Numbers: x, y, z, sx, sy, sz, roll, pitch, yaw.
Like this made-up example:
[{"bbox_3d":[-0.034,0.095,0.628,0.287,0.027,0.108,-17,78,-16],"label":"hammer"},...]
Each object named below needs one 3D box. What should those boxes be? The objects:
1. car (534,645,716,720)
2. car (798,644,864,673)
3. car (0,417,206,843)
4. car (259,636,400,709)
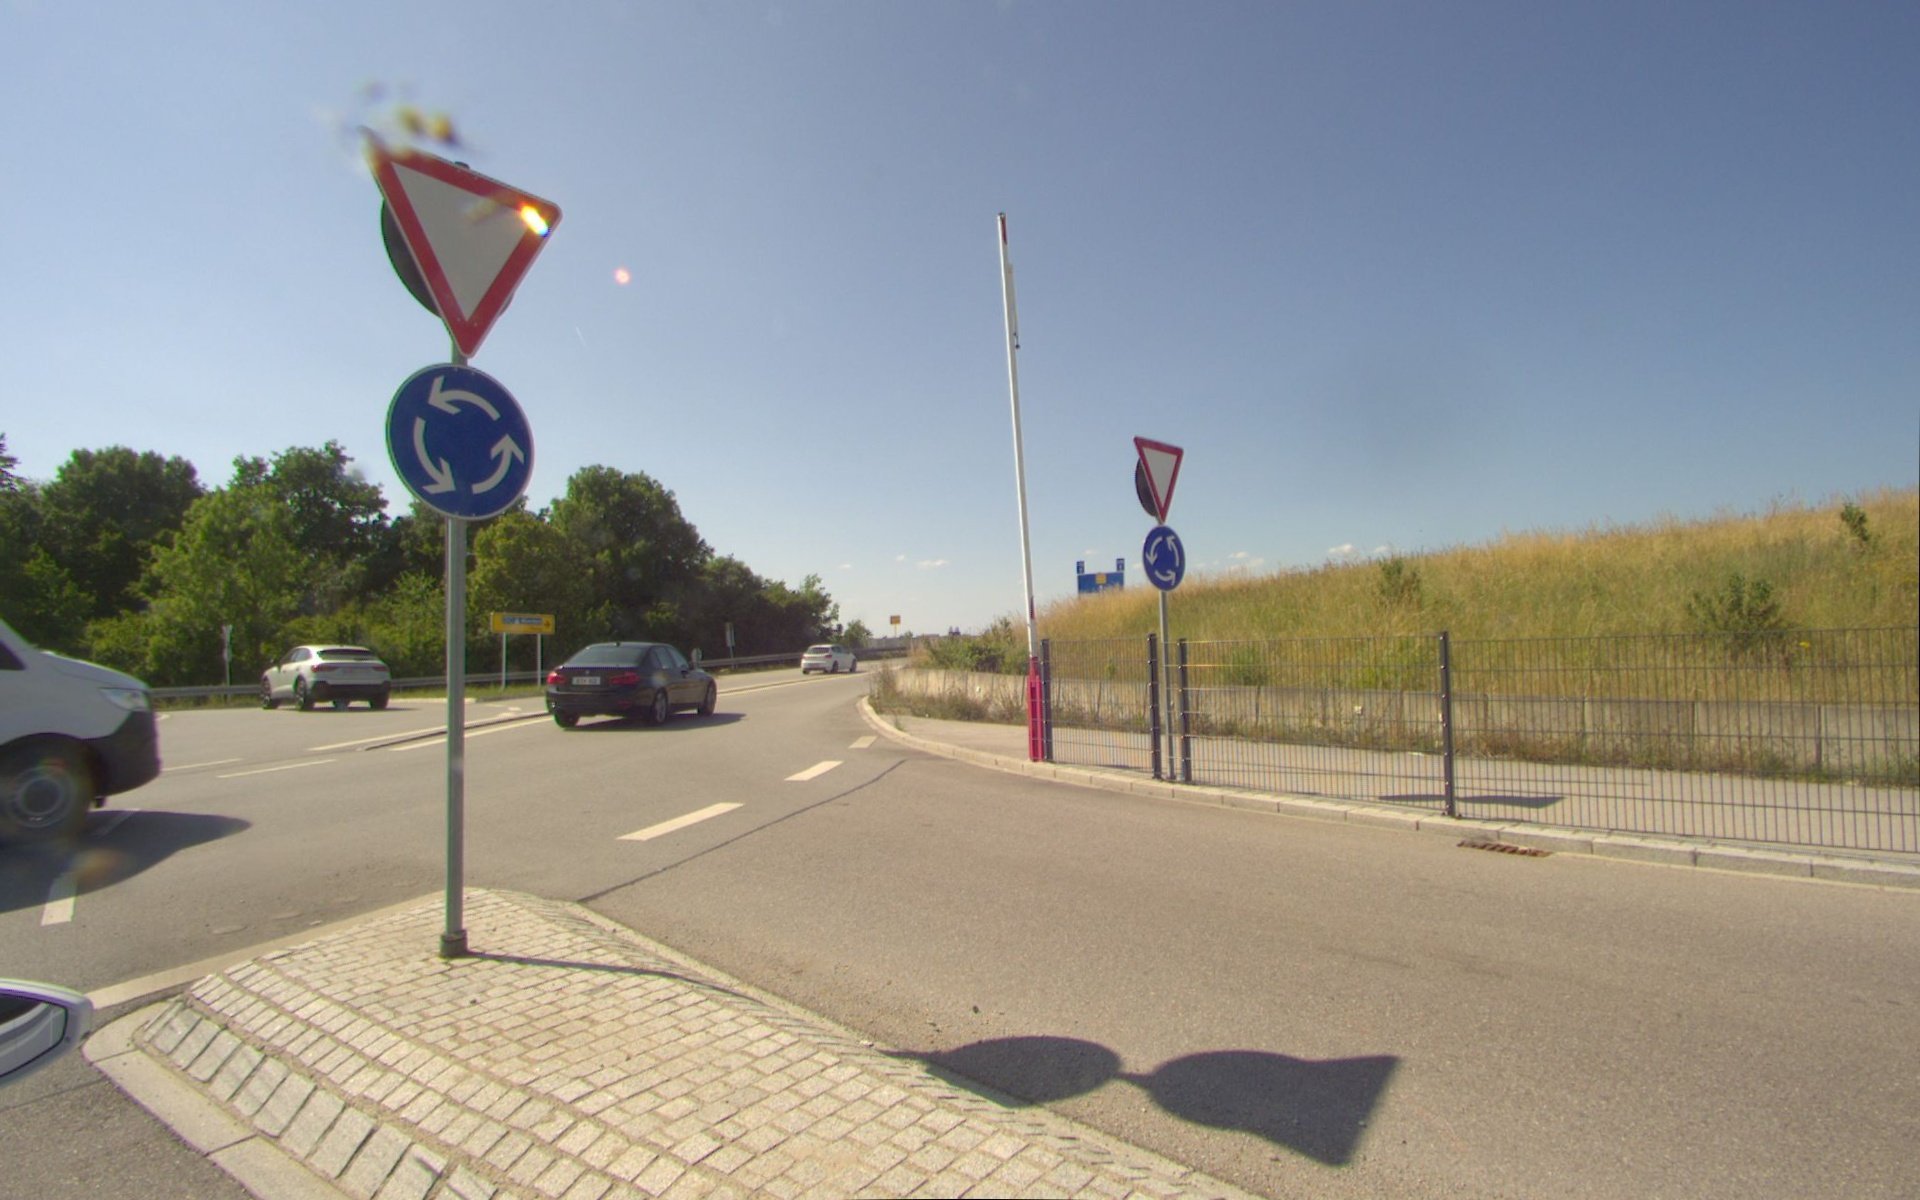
[{"bbox_3d":[-5.846,1.415,17.988,1.644,1.197,3.867,-1,-3,6],"label":"car"},{"bbox_3d":[-6.490,2.936,50.713,1.759,1.422,4.414,-1,-3,15],"label":"car"},{"bbox_3d":[-8.414,0.182,5.867,2.052,2.958,6.115,-1,-2,28],"label":"car"},{"bbox_3d":[-15.565,1.736,24.632,4.277,1.616,1.832,-2,-2,42],"label":"car"}]
